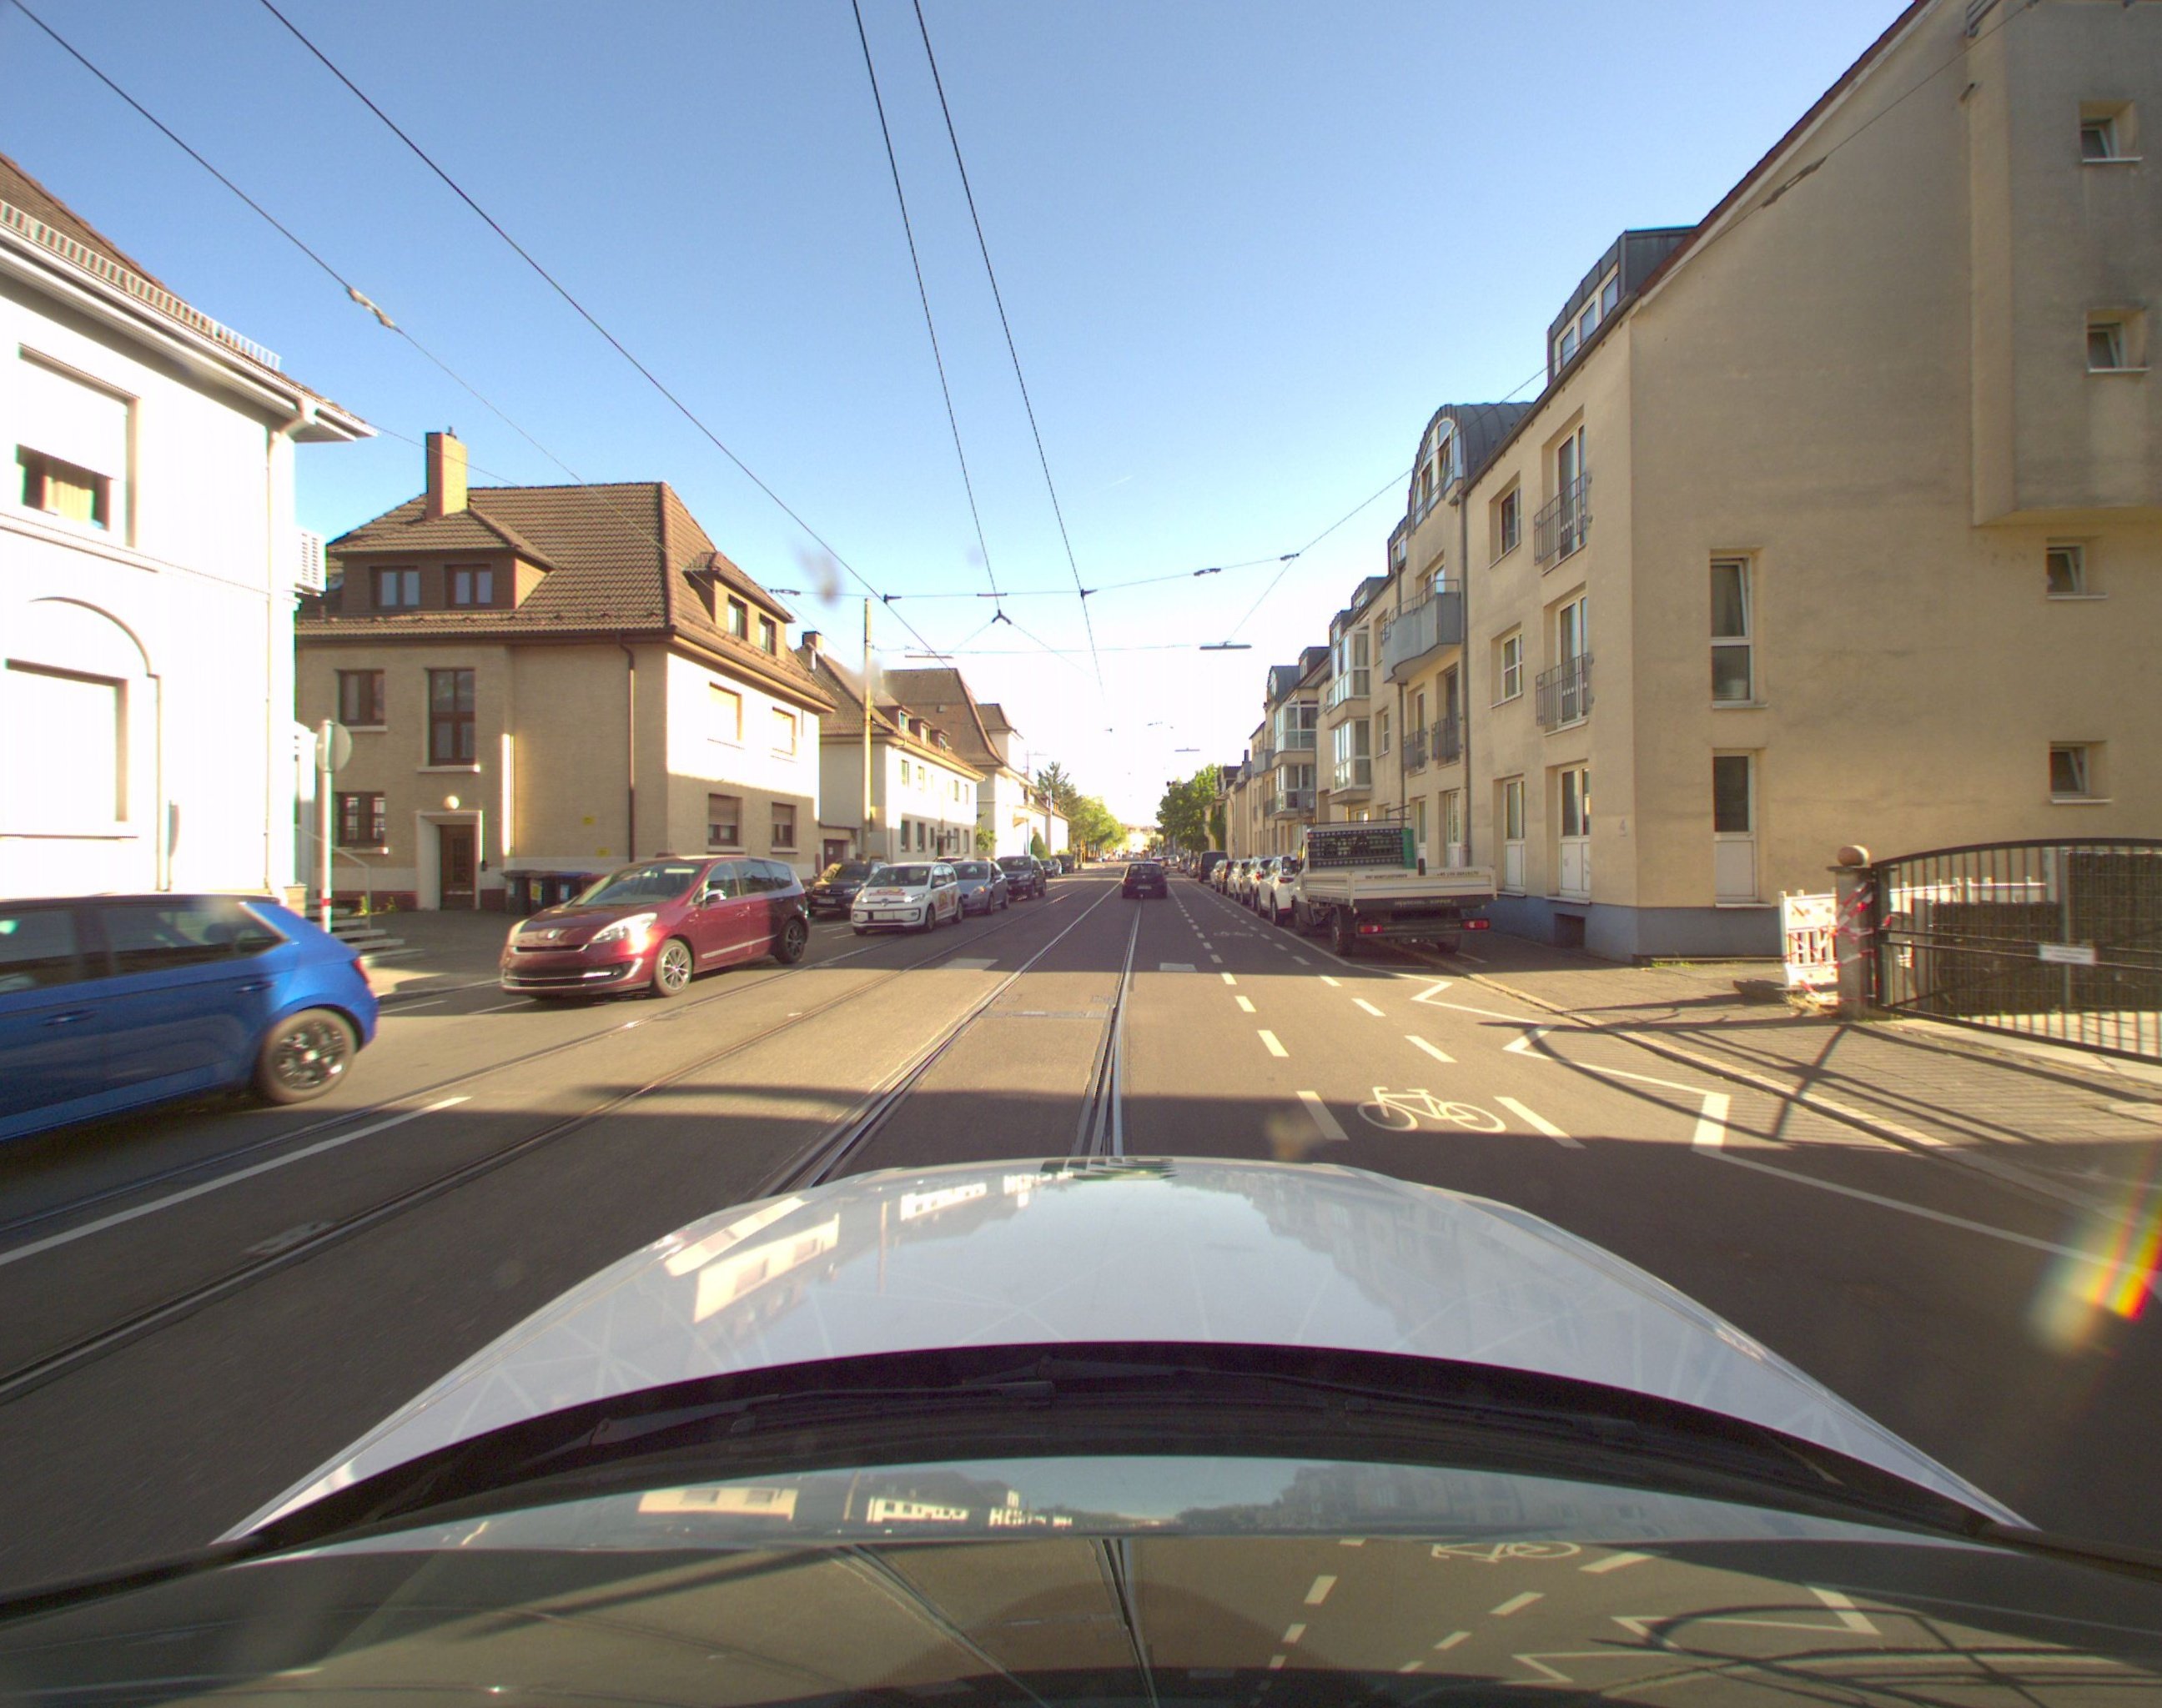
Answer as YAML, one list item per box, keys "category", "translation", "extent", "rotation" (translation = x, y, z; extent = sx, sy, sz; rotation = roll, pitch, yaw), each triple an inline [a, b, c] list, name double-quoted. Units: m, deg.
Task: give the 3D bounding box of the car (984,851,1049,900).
- category: "car"
  translation: [-2.363, 0.769, 30.817]
  extent: [1.696, 1.705, 4.370]
  rotation: [-1, 0, 5]

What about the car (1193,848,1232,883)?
- category: "car"
  translation: [7.934, 0.663, 49.609]
  extent: [1.897, 1.987, 4.568]
  rotation: [1, 0, 4]

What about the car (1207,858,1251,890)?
- category: "car"
  translation: [7.328, 0.954, 40.626]
  extent: [1.669, 1.491, 4.177]
  rotation: [1, 0, 4]

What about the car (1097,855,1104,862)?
- category: "car"
  translation: [4.502, 1.073, 189.639]
  extent: [1.570, 1.477, 3.439]
  rotation: [-1, 0, -1]

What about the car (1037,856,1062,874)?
- category: "car"
  translation: [-2.761, 0.938, 72.237]
  extent: [1.669, 1.477, 3.840]
  rotation: [1, 0, 5]

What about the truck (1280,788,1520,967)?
- category: "truck"
  translation: [5.170, 0.334, 14.388]
  extent: [2.284, 2.477, 6.154]
  rotation: [-1, 0, 5]

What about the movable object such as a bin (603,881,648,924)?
- category: "movable object such as a bin"
  translation: [-10.686, 1.119, 19.113]
  extent: [0.654, 0.944, 0.583]
  rotation: [2, 0, 4]

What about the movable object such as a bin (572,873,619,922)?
- category: "movable object such as a bin"
  translation: [-11.353, 1.001, 19.066]
  extent: [0.612, 1.080, 0.673]
  rotation: [2, 0, 4]

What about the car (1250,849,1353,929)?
- category: "car"
  translation: [5.374, 0.783, 20.371]
  extent: [1.731, 1.746, 4.261]
  rotation: [1, 0, 5]

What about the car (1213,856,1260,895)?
- category: "car"
  translation: [6.619, 0.871, 34.940]
  extent: [1.547, 1.557, 3.656]
  rotation: [1, 0, 4]

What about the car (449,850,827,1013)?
- category: "car"
  translation: [-5.219, 0.799, 10.538]
  extent: [1.728, 1.611, 4.726]
  rotation: [-2, 0, 9]

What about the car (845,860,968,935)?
- category: "car"
  translation: [-3.740, 0.883, 18.042]
  extent: [1.574, 1.461, 3.619]
  rotation: [-2, 0, 6]

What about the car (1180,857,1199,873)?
- category: "car"
  translation: [10.617, 1.075, 79.804]
  extent: [1.595, 1.525, 3.552]
  rotation: [1, 0, 3]

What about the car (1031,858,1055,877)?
- category: "car"
  translation: [-3.020, 1.053, 65.385]
  extent: [1.657, 1.477, 4.251]
  rotation: [0, 0, 1]

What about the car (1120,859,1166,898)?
- category: "car"
  translation: [2.463, 0.914, 32.007]
  extent: [1.708, 1.402, 4.011]
  rotation: [0, 0, 5]

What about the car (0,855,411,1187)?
- category: "car"
  translation: [-5.946, 0.825, 4.047]
  extent: [1.675, 1.567, 3.935]
  rotation: [-3, 0, 6]

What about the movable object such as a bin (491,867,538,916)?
- category: "movable object such as a bin"
  translation: [-13.336, 0.880, 19.184]
  extent: [0.612, 1.111, 0.591]
  rotation: [2, 0, 4]

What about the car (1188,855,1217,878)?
- category: "car"
  translation: [9.103, 0.895, 61.448]
  extent: [1.737, 1.599, 4.437]
  rotation: [1, 0, 3]

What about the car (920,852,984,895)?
- category: "car"
  translation: [-5.565, 0.811, 35.731]
  extent: [1.754, 1.705, 4.560]
  rotation: [-2, 0, 4]

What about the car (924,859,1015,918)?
- category: "car"
  translation: [-3.029, 0.893, 22.930]
  extent: [1.610, 1.461, 4.080]
  rotation: [-2, 0, 5]

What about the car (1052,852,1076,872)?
- category: "car"
  translation: [-1.786, 0.840, 86.044]
  extent: [1.896, 2.014, 4.957]
  rotation: [1, 0, 6]

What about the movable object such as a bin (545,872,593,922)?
- category: "movable object such as a bin"
  translation: [-12.022, 0.996, 19.130]
  extent: [0.639, 1.111, 0.673]
  rotation: [2, 0, 4]

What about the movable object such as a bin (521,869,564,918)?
- category: "movable object such as a bin"
  translation: [-12.666, 0.921, 19.165]
  extent: [0.566, 1.111, 0.591]
  rotation: [2, 0, 4]

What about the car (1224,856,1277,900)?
- category: "car"
  translation: [6.370, 0.858, 30.800]
  extent: [1.490, 1.557, 3.368]
  rotation: [1, 0, 4]

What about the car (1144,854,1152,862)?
- category: "car"
  translation: [15.929, 0.846, 193.840]
  extent: [1.780, 1.860, 4.003]
  rotation: [2, 0, 3]

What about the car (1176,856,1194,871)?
- category: "car"
  translation: [11.224, 0.982, 88.006]
  extent: [1.658, 1.564, 3.775]
  rotation: [1, 0, 5]

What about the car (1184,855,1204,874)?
- category: "car"
  translation: [9.858, 0.921, 71.123]
  extent: [1.451, 1.599, 3.296]
  rotation: [1, 0, 3]

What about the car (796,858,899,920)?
- category: "car"
  translation: [-6.693, 0.950, 23.749]
  extent: [1.608, 1.628, 3.925]
  rotation: [-2, 0, 4]

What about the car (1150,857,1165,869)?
- category: "car"
  translation: [9.227, 1.097, 98.416]
  extent: [1.731, 1.441, 3.814]
  rotation: [0, 0, 5]

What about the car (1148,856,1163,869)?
- category: "car"
  translation: [8.142, 0.870, 89.189]
  extent: [1.626, 1.372, 3.763]
  rotation: [-1, 0, 5]

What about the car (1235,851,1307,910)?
- category: "car"
  translation: [5.945, 0.778, 25.922]
  extent: [1.595, 1.700, 3.994]
  rotation: [1, 0, 4]
